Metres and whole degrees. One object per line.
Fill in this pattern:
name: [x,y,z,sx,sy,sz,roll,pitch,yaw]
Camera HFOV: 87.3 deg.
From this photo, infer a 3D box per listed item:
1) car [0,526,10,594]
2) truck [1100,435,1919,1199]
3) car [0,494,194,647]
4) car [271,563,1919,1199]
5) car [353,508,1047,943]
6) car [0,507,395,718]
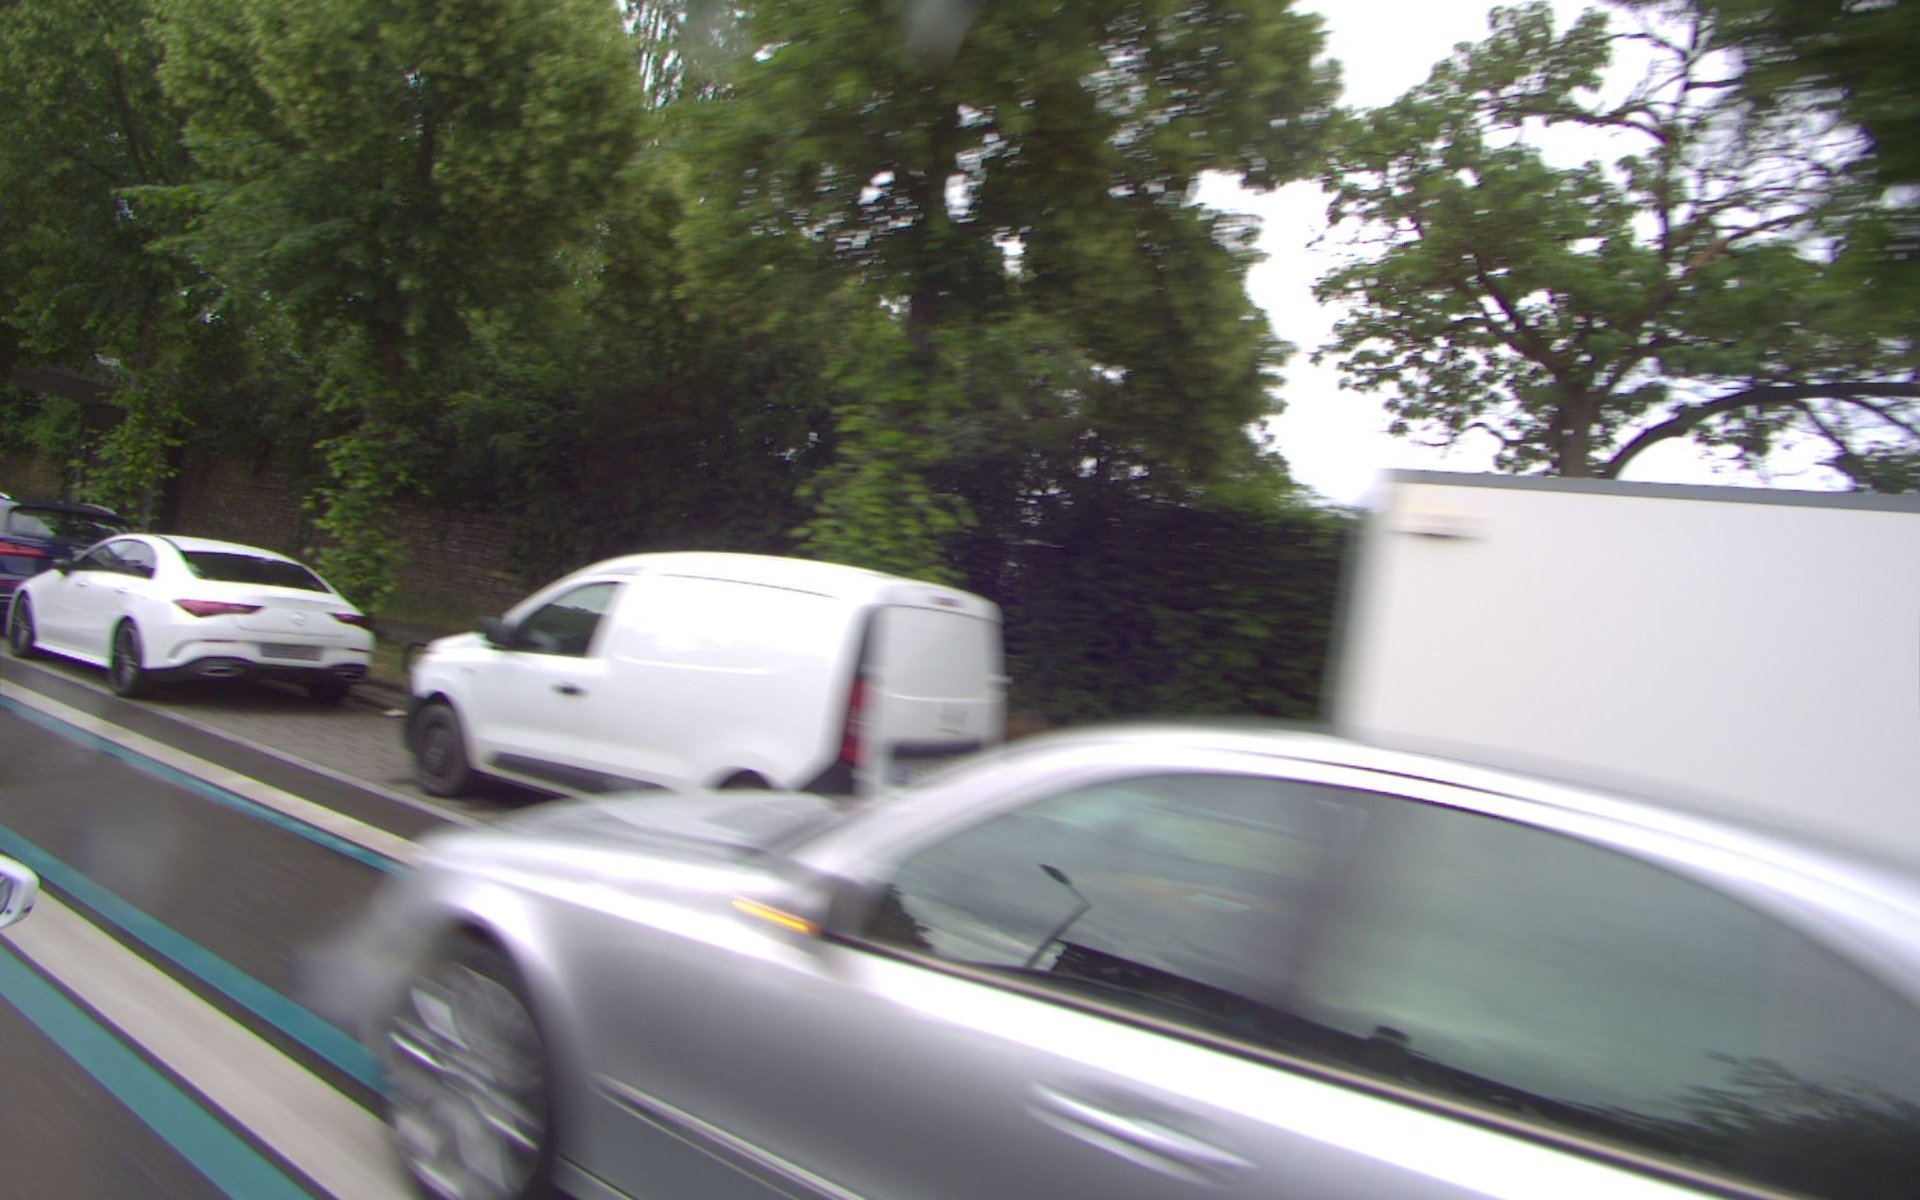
car: [-17.118,-0.839,16.091,4.113,1.203,1.630,7,-2,31]
truck: [2.792,0.831,3.589,3.933,2.360,1.722,7,-1,31]
car: [-12.212,-0.545,12.885,4.562,1.578,1.999,7,-2,28]
car: [0.571,0.932,2.279,4.514,1.414,1.725,7,-2,32]
car: [-1.824,0.578,6.584,4.273,1.811,1.726,7,-2,31]
car: [-7.764,0.068,9.992,4.542,1.442,1.663,7,-2,32]
